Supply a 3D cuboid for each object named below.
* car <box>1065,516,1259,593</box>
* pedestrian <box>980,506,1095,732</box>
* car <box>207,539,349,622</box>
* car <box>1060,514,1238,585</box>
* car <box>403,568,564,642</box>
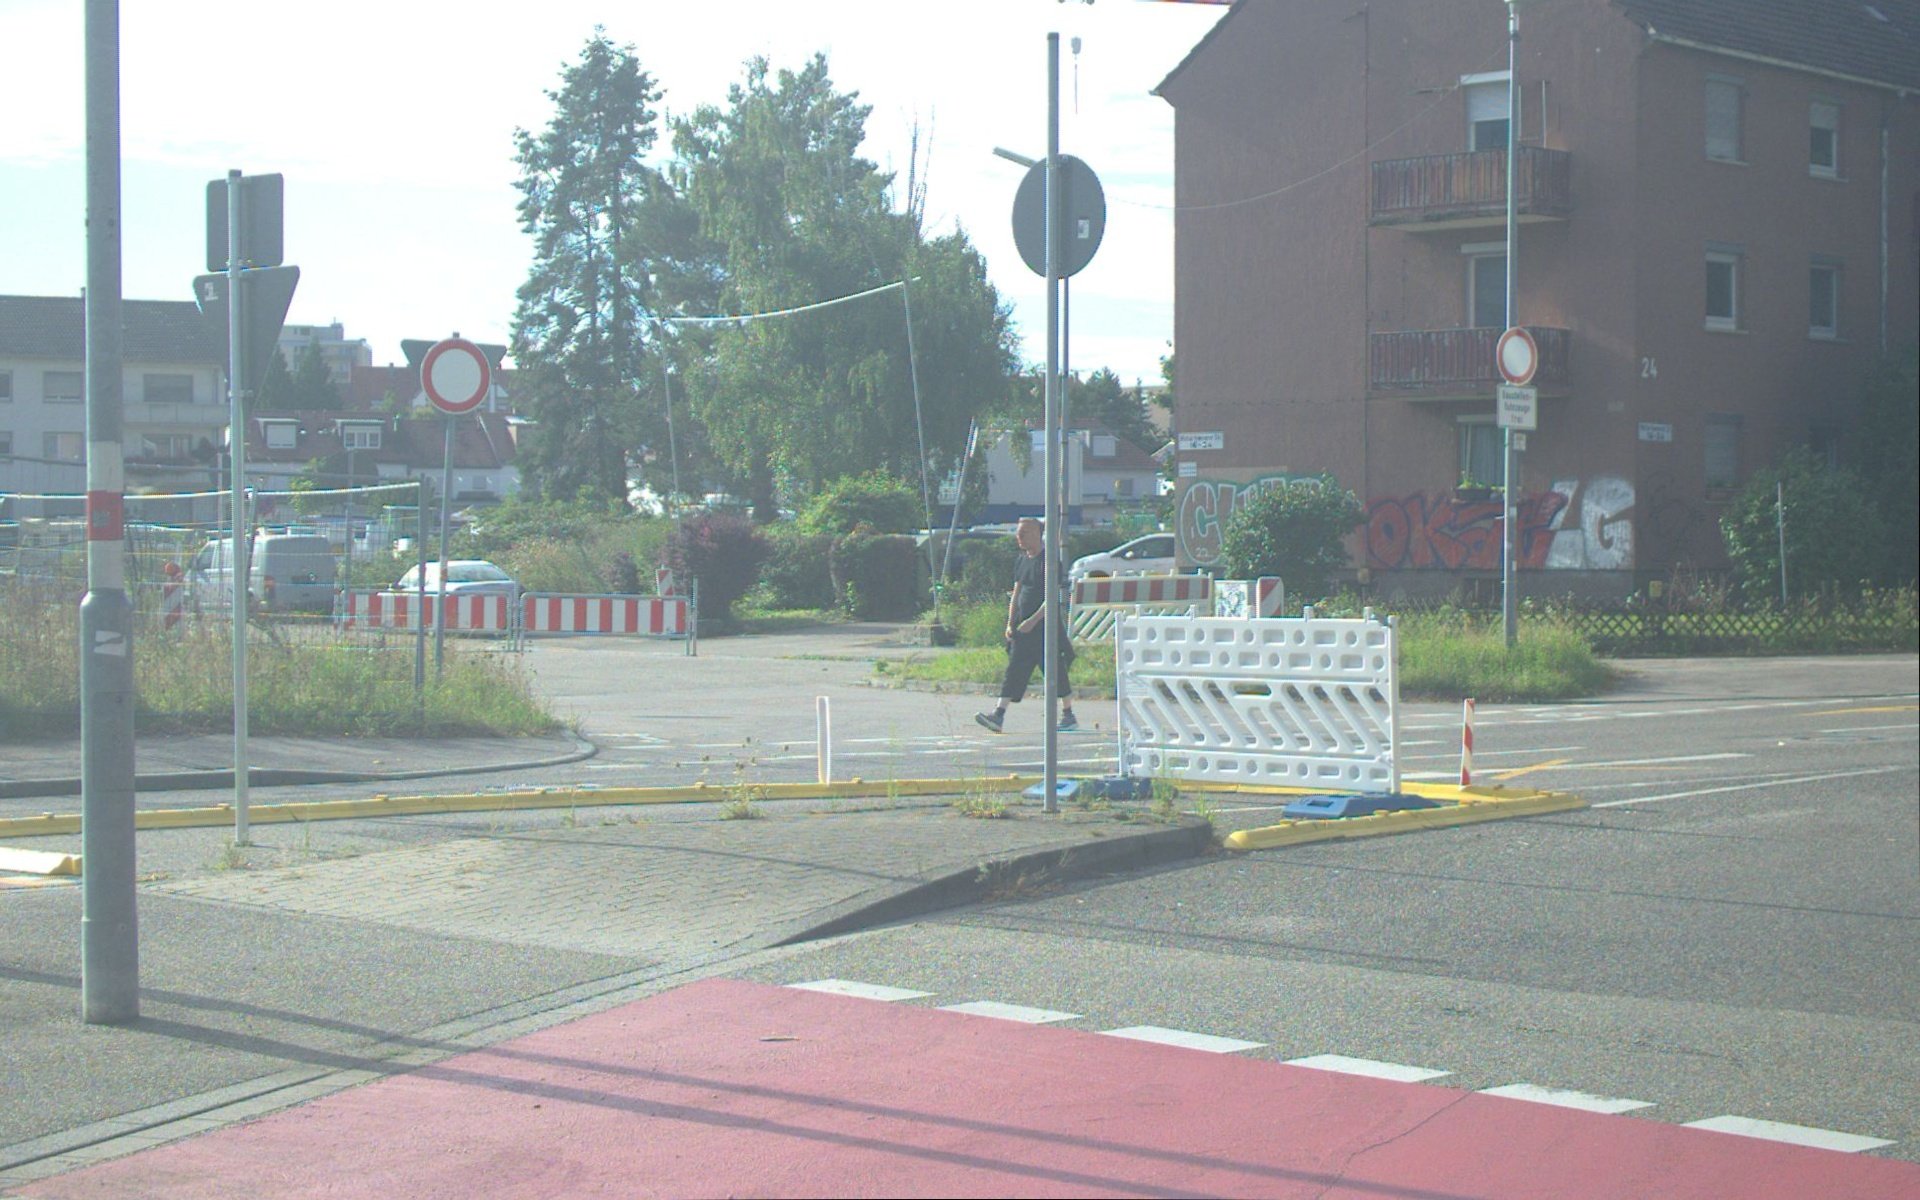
[{"bbox_3d":[4.337,-0.986,73.664,3.988,1.612,1.773,0,1,9],"label":"car"},{"bbox_3d":[0.655,0.147,28.898,0.668,1.864,0.834,1,1,26],"label":"pedestrian"},{"bbox_3d":[-15.426,-0.458,77.650,1.879,1.809,4.000,0,1,-31],"label":"car"},{"bbox_3d":[4.349,-1.171,79.472,3.986,1.612,1.773,0,1,-1],"label":"car"},{"bbox_3d":[-9.467,0.077,68.101,1.715,1.388,4.000,0,1,-31],"label":"car"}]
